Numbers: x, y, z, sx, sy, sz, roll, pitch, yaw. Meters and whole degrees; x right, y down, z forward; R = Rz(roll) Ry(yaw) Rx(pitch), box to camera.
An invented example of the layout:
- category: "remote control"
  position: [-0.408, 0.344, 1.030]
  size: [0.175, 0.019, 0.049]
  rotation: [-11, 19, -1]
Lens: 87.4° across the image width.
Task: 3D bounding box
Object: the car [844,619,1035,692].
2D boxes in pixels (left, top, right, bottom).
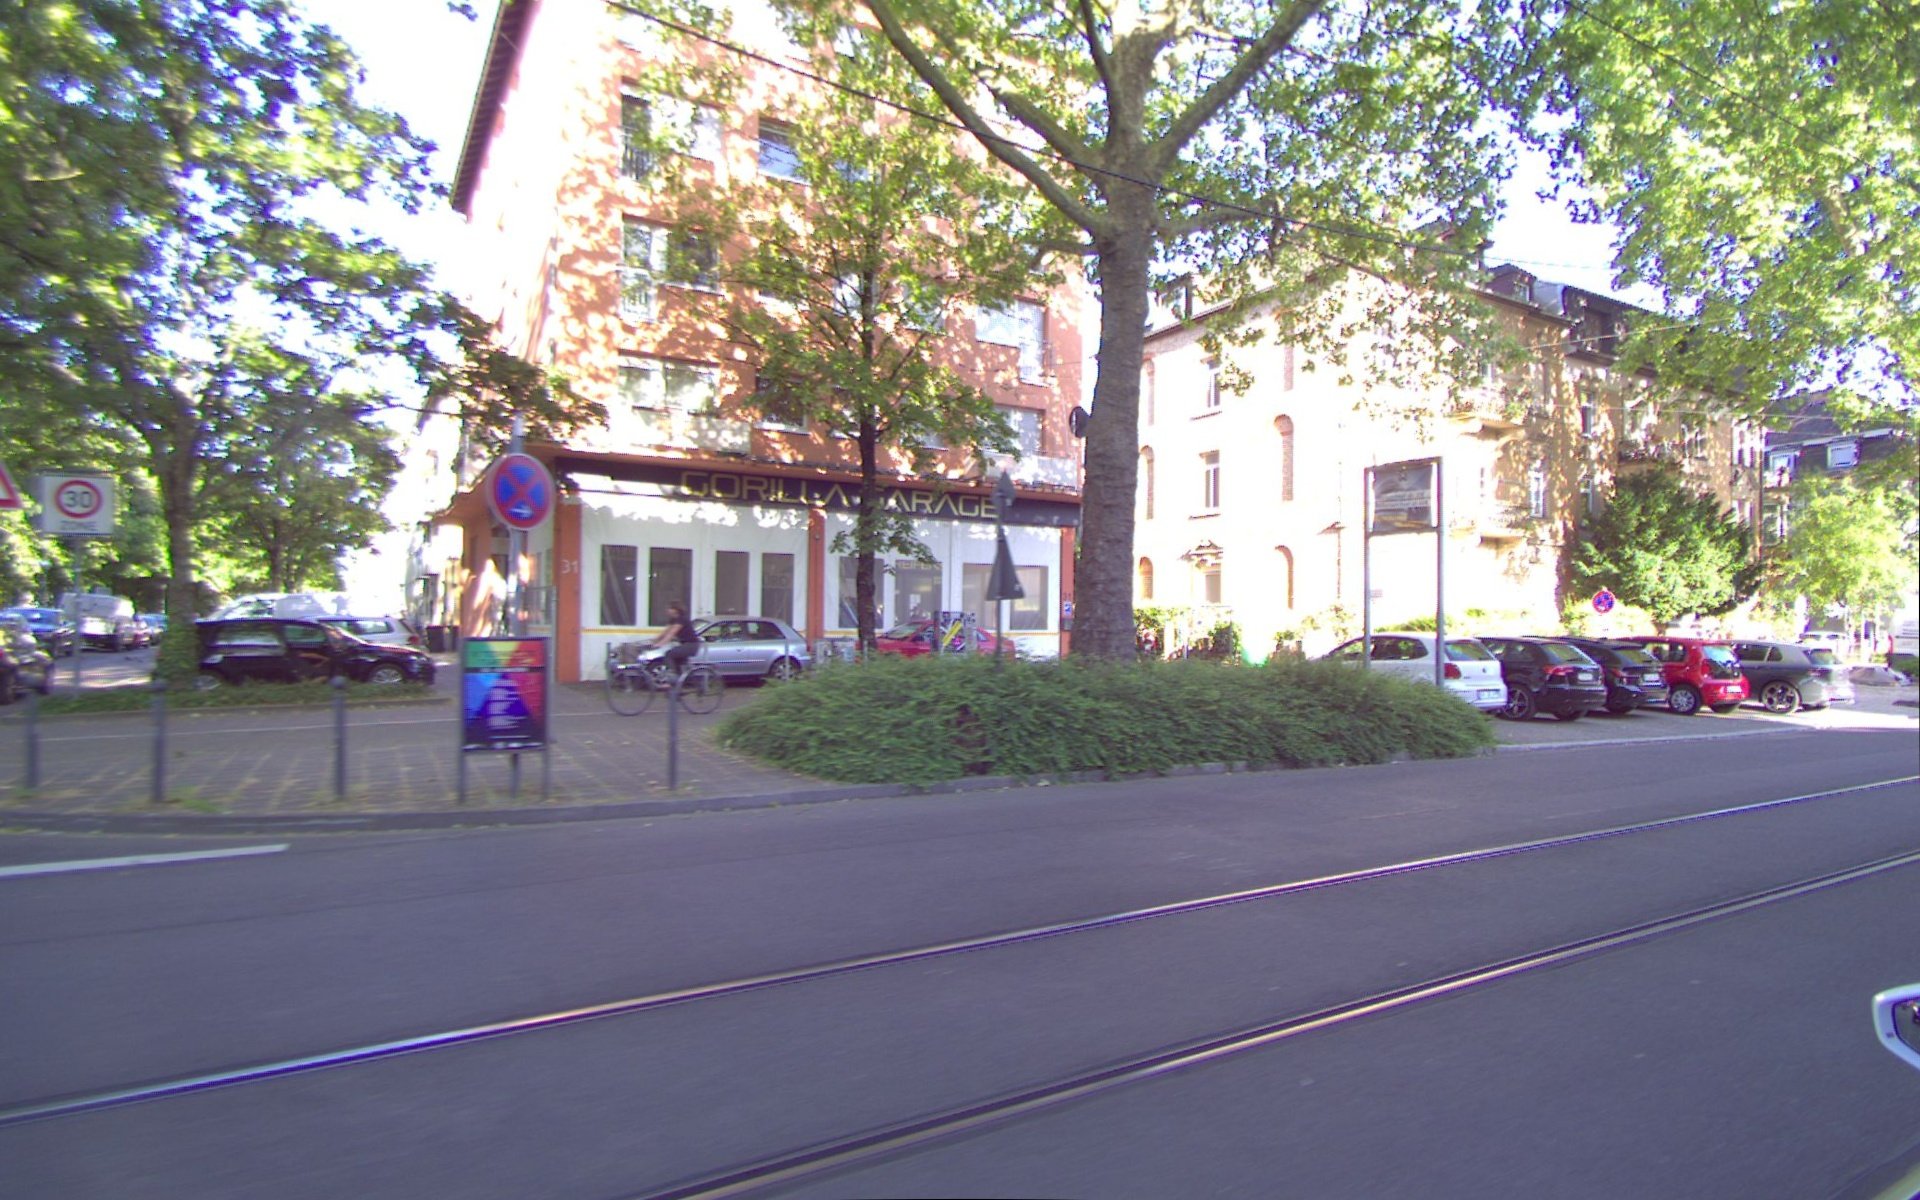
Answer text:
- category: "car"
  position: [-0.453, 1.241, 23.074]
  size: [3.952, 1.507, 1.939]
  rotation: [2, -1, -29]

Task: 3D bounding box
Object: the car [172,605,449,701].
- category: "car"
  position: [-11.517, 0.895, 17.944]
  size: [3.967, 1.513, 1.797]
  rotation: [2, -1, -40]

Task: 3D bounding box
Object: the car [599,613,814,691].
- category: "car"
  position: [-5.126, 1.020, 20.335]
  size: [3.846, 1.426, 1.939]
  rotation: [2, -1, -29]

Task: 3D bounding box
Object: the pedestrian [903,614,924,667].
- category: "pedestrian"
  position: [-1.594, 1.393, 34.422]
  size: [0.514, 1.801, 0.537]
  rotation: [1, 0, -30]

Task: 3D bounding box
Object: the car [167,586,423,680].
- category: "car"
  position: [-15.612, 0.768, 23.849]
  size: [4.870, 2.030, 1.981]
  rotation: [2, -1, -34]

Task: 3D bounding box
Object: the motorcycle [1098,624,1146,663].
- category: "motorcycle"
  position: [5.653, 1.503, 35.073]
  size: [1.608, 1.321, 0.639]
  rotation: [1, -1, -30]

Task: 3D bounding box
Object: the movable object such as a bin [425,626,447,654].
- category: "movable object such as a bin"
  position: [-20.253, 1.538, 38.820]
  size: [0.678, 1.039, 0.621]
  rotation: [1, -1, -34]

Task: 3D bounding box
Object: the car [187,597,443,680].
- category: "car"
  position: [-14.006, 0.813, 21.945]
  size: [4.519, 1.639, 1.978]
  rotation: [2, -1, -39]

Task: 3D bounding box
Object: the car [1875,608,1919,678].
- category: "car"
  position: [33.022, 1.443, 32.291]
  size: [2.063, 2.289, 5.005]
  rotation: [1, -1, -32]

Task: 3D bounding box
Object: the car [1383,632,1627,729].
- category: "car"
  position: [9.759, 1.370, 18.256]
  size: [1.665, 1.484, 3.588]
  rotation: [1, -1, -27]

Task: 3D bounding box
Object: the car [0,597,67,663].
- category: "car"
  position: [-31.383, 0.955, 33.509]
  size: [1.982, 2.040, 4.695]
  rotation: [2, -1, -37]

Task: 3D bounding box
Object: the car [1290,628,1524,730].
- category: "car"
  position: [7.567, 1.278, 17.305]
  size: [1.675, 1.484, 3.407]
  rotation: [1, -1, -27]

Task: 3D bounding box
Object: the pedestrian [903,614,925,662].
- category: "pedestrian"
  position: [-1.612, 1.326, 35.167]
  size: [0.543, 1.682, 0.501]
  rotation: [1, 0, -30]

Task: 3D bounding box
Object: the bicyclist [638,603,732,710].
- category: "bicyclist"
  position: [-4.115, 0.822, 15.019]
  size: [1.108, 1.527, 0.793]
  rotation: [2, -1, -40]

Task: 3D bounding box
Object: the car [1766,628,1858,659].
- category: "car"
  position: [46.949, 2.382, 55.354]
  size: [4.669, 1.613, 1.853]
  rotation: [1, -1, -20]

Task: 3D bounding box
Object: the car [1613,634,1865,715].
- category: "car"
  position: [16.821, 1.535, 21.899]
  size: [1.832, 1.484, 3.969]
  rotation: [1, -1, -29]

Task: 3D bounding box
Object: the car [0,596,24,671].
- category: "car"
  position: [-28.108, 0.896, 28.387]
  size: [1.982, 2.040, 3.957]
  rotation: [2, -1, -37]

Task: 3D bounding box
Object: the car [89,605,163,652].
- category: "car"
  position: [-38.853, 1.295, 46.905]
  size: [1.978, 2.040, 4.703]
  rotation: [1, -1, -32]

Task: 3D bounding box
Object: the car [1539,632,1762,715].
- category: "car"
  position: [14.197, 1.454, 20.834]
  size: [1.737, 1.484, 3.407]
  rotation: [1, -1, -27]

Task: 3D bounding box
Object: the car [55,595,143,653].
- category: "car"
  position: [-35.257, 0.944, 41.284]
  size: [2.021, 2.226, 4.703]
  rotation: [1, -1, -32]

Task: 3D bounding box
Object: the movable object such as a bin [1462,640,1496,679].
- category: "movable object such as a bin"
  position: [15.310, 1.745, 29.648]
  size: [0.536, 1.124, 0.721]
  rotation: [1, -1, -28]

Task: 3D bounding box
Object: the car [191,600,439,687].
- category: "car"
  position: [-12.760, 0.827, 19.957]
  size: [3.965, 1.546, 1.978]
  rotation: [2, -1, -38]

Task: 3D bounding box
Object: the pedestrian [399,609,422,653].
- category: "pedestrian"
  position: [-21.858, 1.222, 39.953]
  size: [0.704, 1.695, 0.772]
  rotation: [1, 0, -32]

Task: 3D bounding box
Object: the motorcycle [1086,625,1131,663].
- category: "motorcycle"
  position: [5.288, 1.567, 35.730]
  size: [1.545, 1.306, 0.590]
  rotation: [1, -1, -30]

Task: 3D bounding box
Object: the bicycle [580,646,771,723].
- category: "bicycle"
  position: [-4.193, 1.212, 14.965]
  size: [2.562, 1.012, 0.960]
  rotation: [2, -1, -40]

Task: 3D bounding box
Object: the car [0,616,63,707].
- category: "car"
  position: [-17.961, 1.054, 18.374]
  size: [1.726, 1.468, 3.962]
  rotation: [3, -2, -34]

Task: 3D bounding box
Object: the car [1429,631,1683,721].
- category: "car"
  position: [11.772, 1.434, 20.130]
  size: [1.797, 1.484, 4.067]
  rotation: [1, -1, -27]
